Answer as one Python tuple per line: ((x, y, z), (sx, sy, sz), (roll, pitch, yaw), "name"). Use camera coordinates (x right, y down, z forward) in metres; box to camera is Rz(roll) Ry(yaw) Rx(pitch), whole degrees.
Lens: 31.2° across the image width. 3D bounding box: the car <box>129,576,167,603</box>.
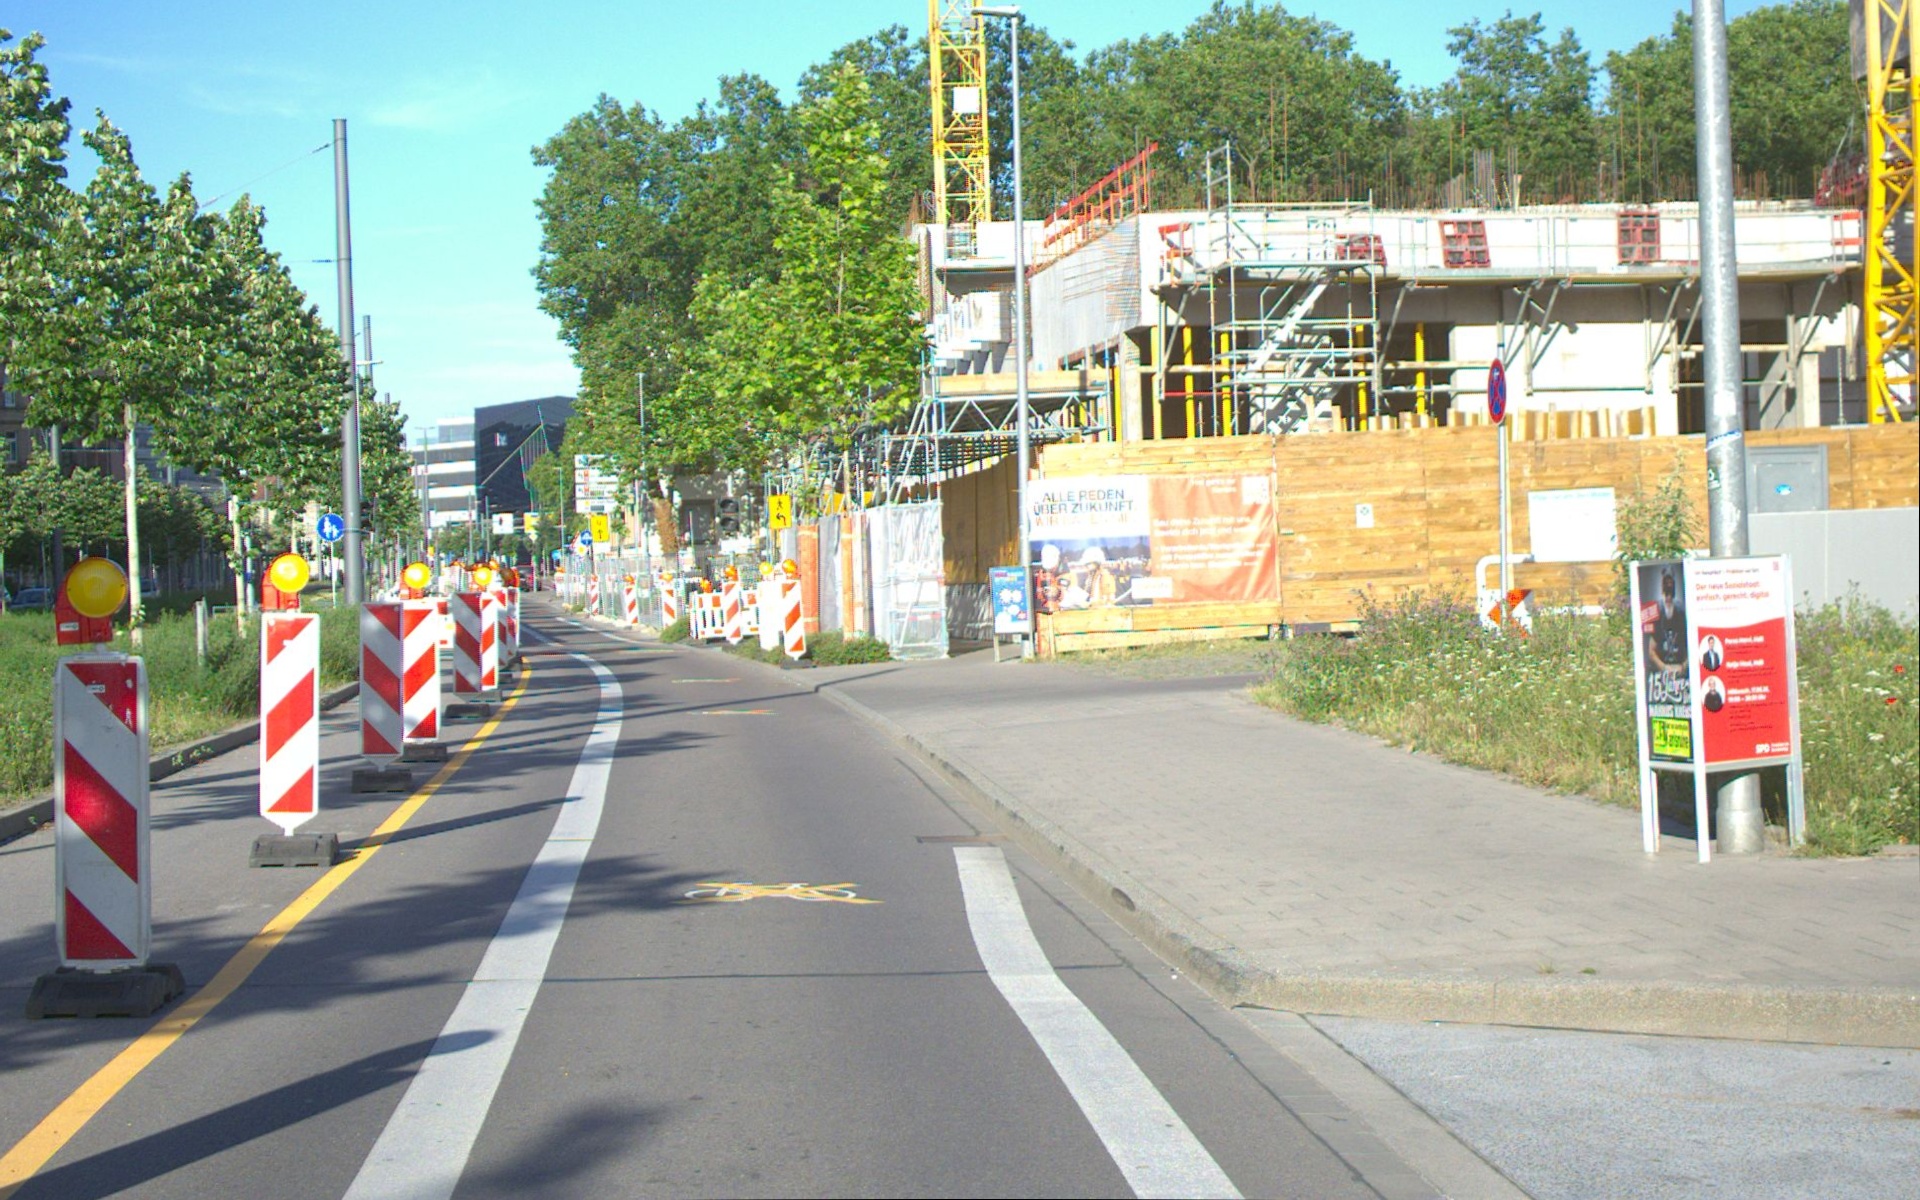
((-44.158, -0.576, 187.025), (1.594, 1.478, 3.624), (0, 0, -7), "car")
